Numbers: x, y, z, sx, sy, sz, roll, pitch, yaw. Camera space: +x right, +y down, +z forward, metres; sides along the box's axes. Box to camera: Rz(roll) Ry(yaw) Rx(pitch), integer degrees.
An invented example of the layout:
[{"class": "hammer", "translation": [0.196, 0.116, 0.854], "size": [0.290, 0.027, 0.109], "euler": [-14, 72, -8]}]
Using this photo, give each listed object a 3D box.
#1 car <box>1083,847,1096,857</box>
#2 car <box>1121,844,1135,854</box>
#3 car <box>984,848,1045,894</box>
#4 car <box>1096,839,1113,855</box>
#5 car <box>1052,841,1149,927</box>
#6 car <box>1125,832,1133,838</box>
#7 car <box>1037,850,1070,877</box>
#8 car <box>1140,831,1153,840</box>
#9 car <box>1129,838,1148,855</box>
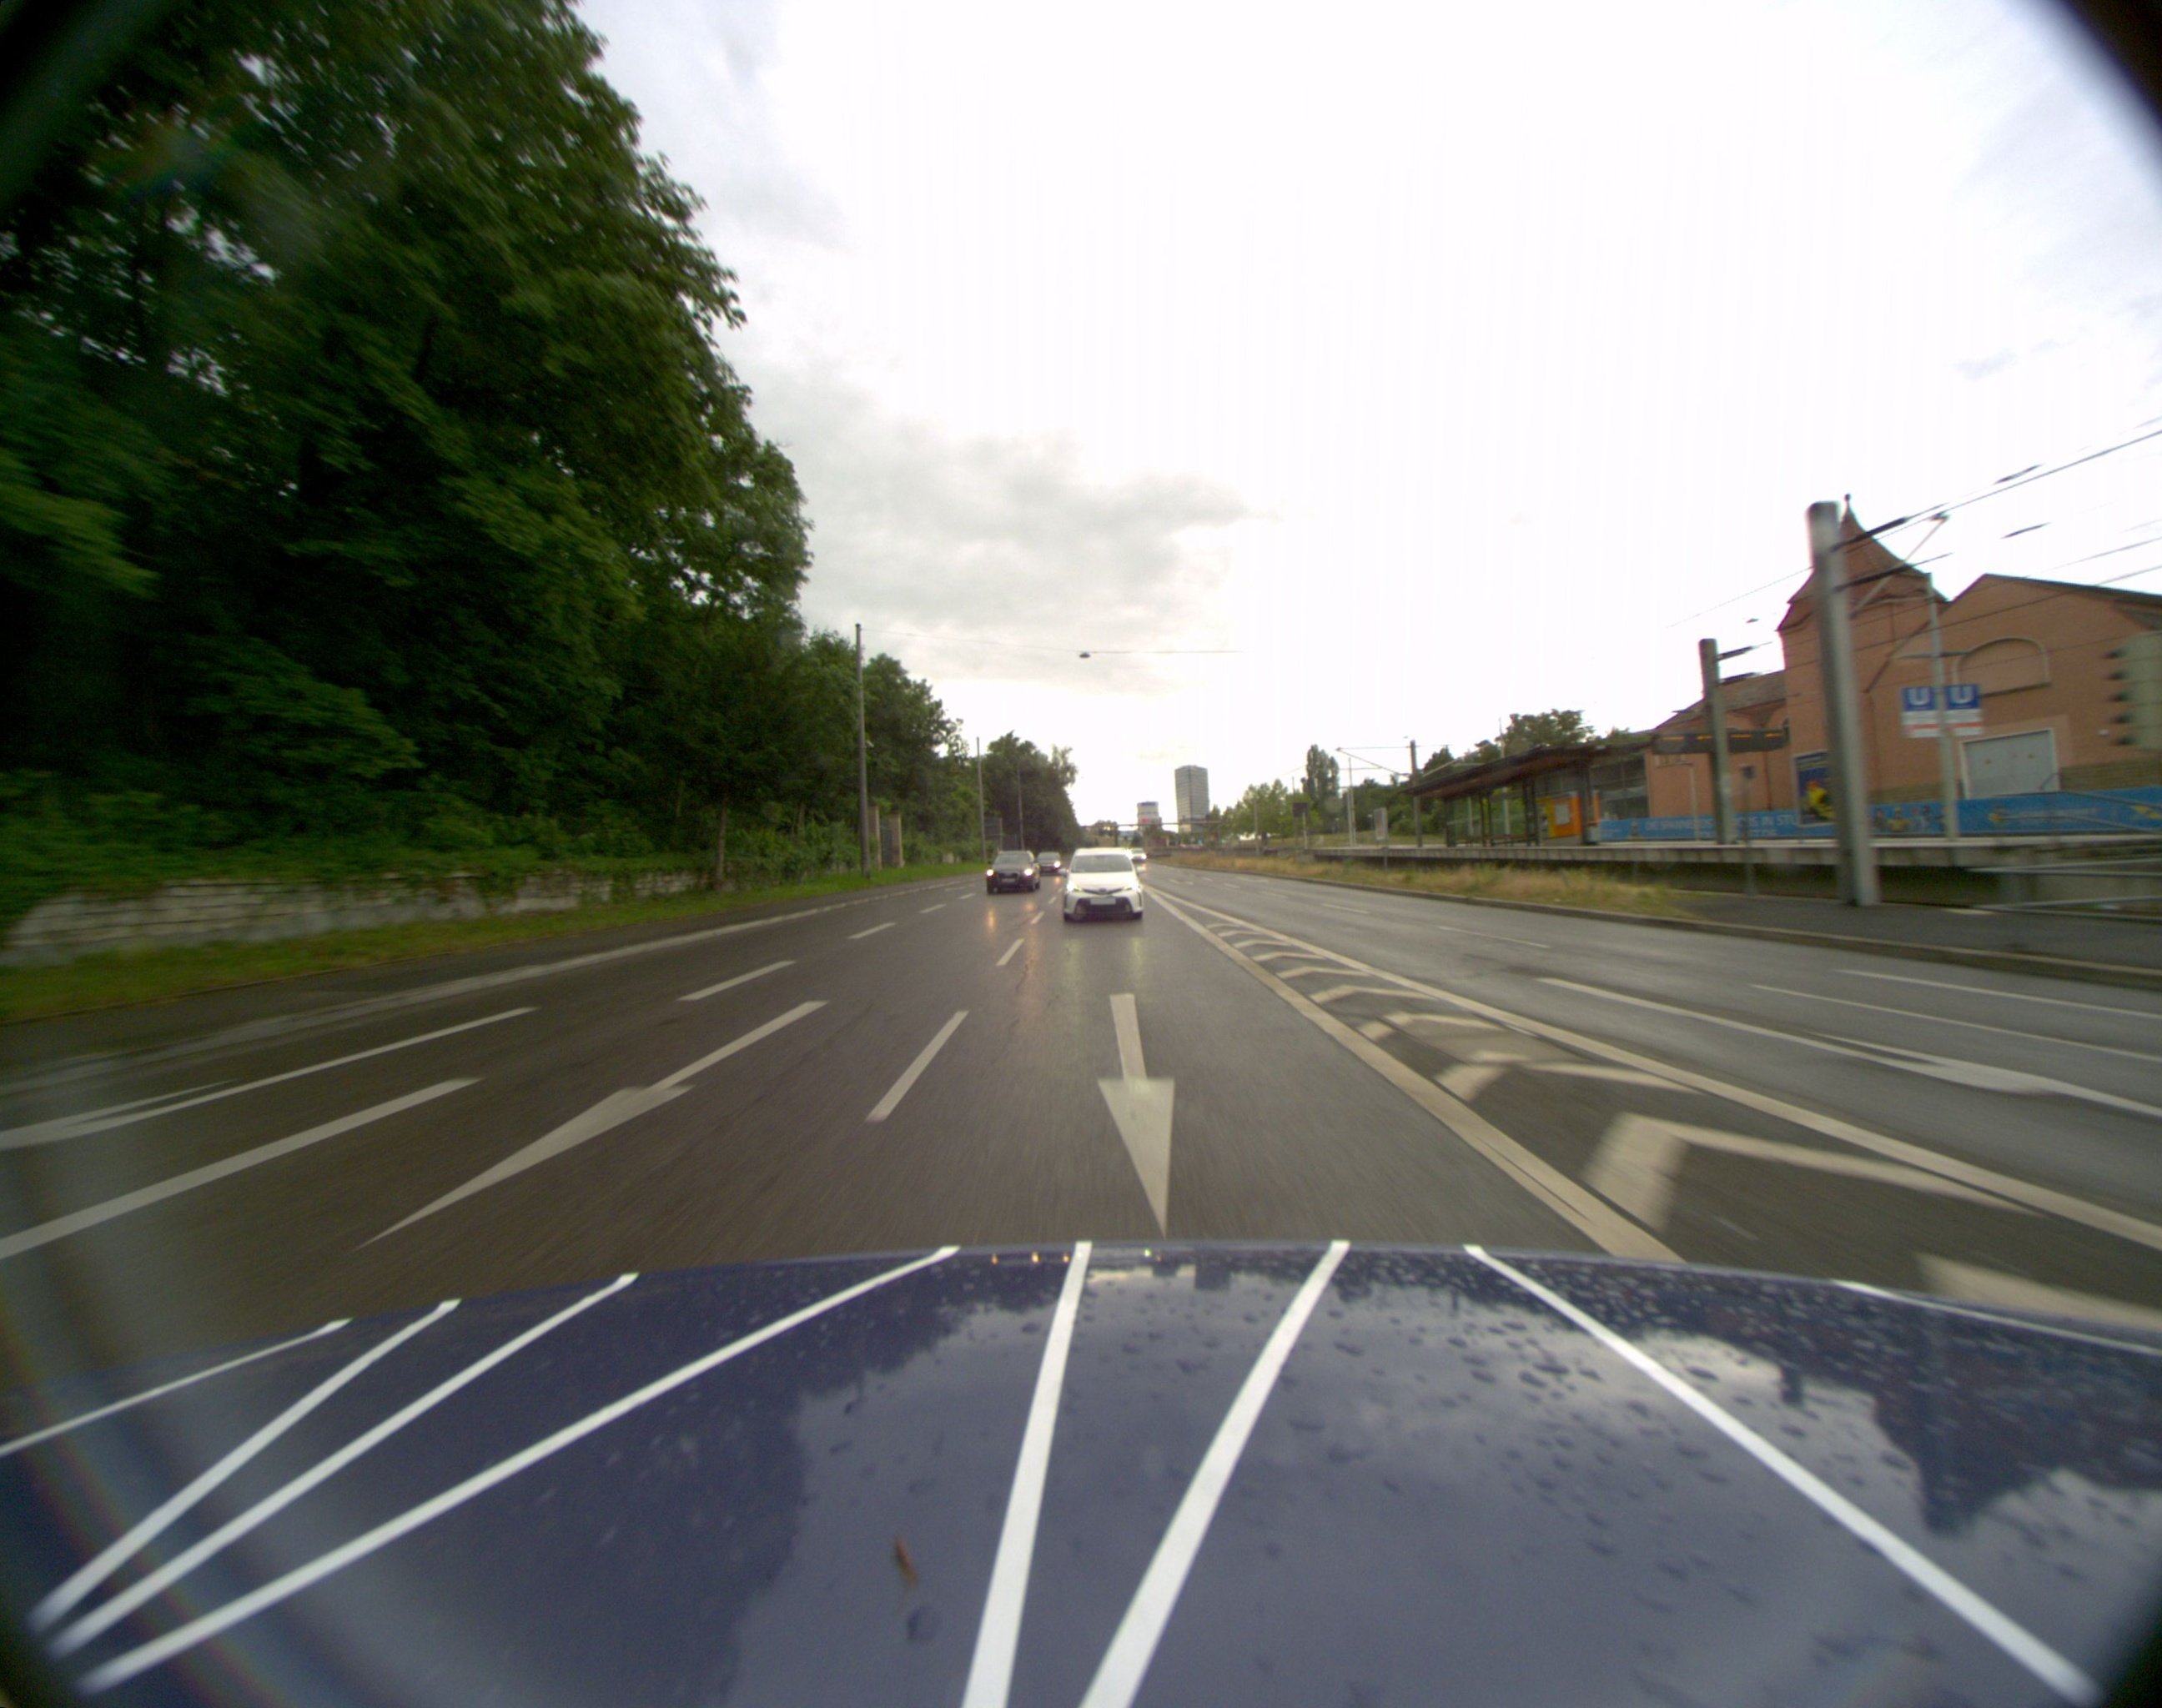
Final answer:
[{"class": "car", "translation": [1.263, -0.269, 115.087], "size": [1.802, 1.463, 3.999], "euler": [-2, 0, -2]}, {"class": "car", "translation": [7.384, -0.800, 119.667], "size": [1.802, 1.463, 3.998], "euler": [-2, 1, -4]}, {"class": "car", "translation": [-2.549, 0.604, 29.963], "size": [1.855, 1.578, 4.000], "euler": [-2, 1, 2]}, {"class": "car", "translation": [2.607, -0.758, 82.714], "size": [1.738, 1.578, 4.000], "euler": [-2, 1, 2]}, {"class": "car", "translation": [0.333, 0.599, 17.877], "size": [1.856, 1.741, 3.998], "euler": [-2, 1, -4]}, {"class": "car", "translation": [12.111, -4.795, 192.361], "size": [1.801, 1.463, 4.001], "euler": [-2, 0, 4]}, {"class": "car", "translation": [-1.711, 0.563, 48.435], "size": [1.738, 1.578, 4.000], "euler": [-2, 1, 2]}, {"class": "car", "translation": [11.668, -3.254, 135.894], "size": [1.802, 1.463, 3.999], "euler": [-2, 0, -1]}, {"class": "car", "translation": [5.785, -0.788, 76.801], "size": [1.738, 1.578, 4.000], "euler": [-2, 1, 2]}]
